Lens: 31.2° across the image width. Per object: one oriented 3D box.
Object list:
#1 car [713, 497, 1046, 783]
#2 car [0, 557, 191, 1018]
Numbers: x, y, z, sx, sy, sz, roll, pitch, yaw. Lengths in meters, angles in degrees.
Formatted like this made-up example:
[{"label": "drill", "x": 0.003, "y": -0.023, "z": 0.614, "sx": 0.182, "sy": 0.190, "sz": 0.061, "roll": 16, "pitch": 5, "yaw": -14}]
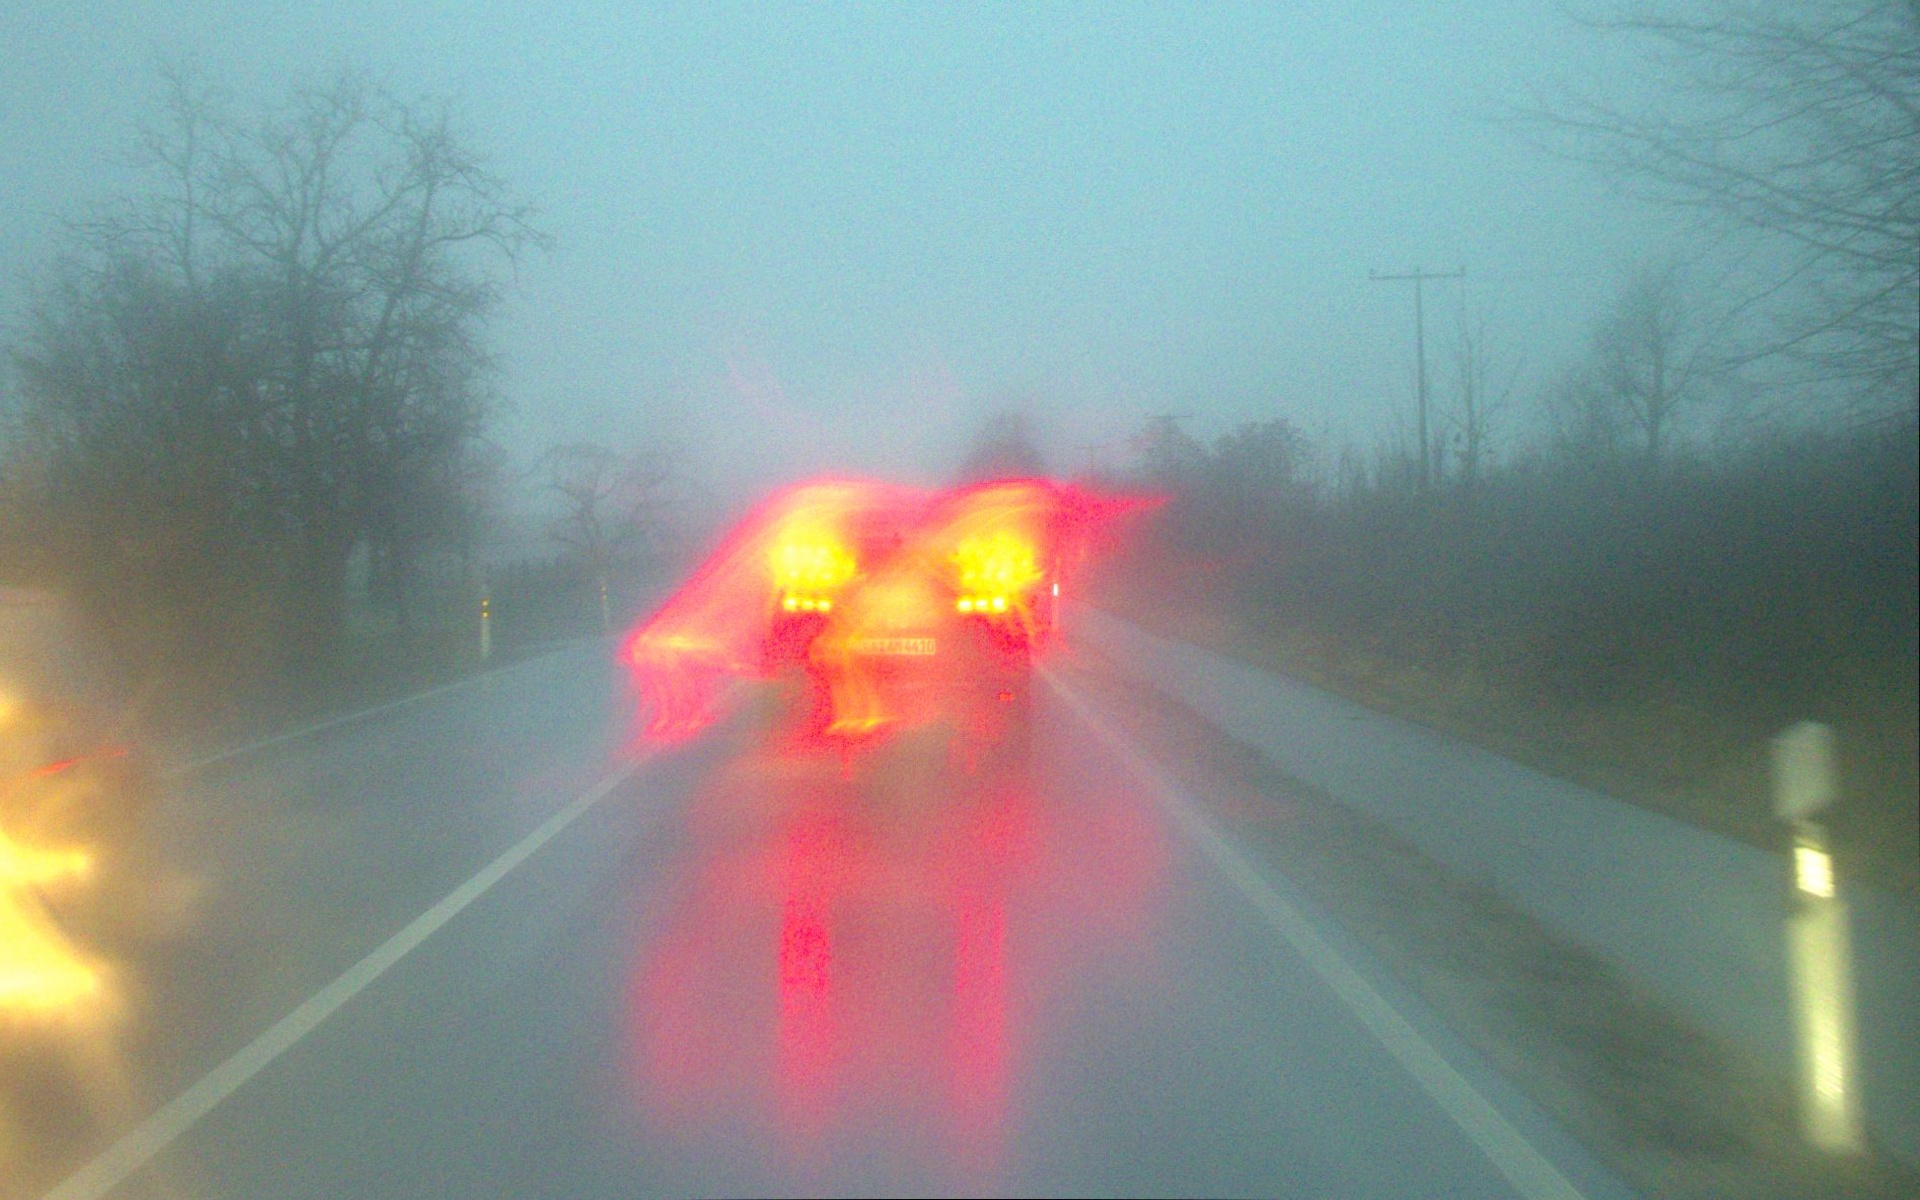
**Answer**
[{"label": "car", "x": -0.539, "y": 0.211, "z": 24.416, "sx": 2.120, "sy": 1.813, "sz": 4.980, "roll": 0, "pitch": 1, "yaw": -1}, {"label": "car", "x": -3.929, "y": 0.621, "z": 11.994, "sx": 1.632, "sy": 1.452, "sz": 3.983, "roll": -3, "pitch": 1, "yaw": -1}]
